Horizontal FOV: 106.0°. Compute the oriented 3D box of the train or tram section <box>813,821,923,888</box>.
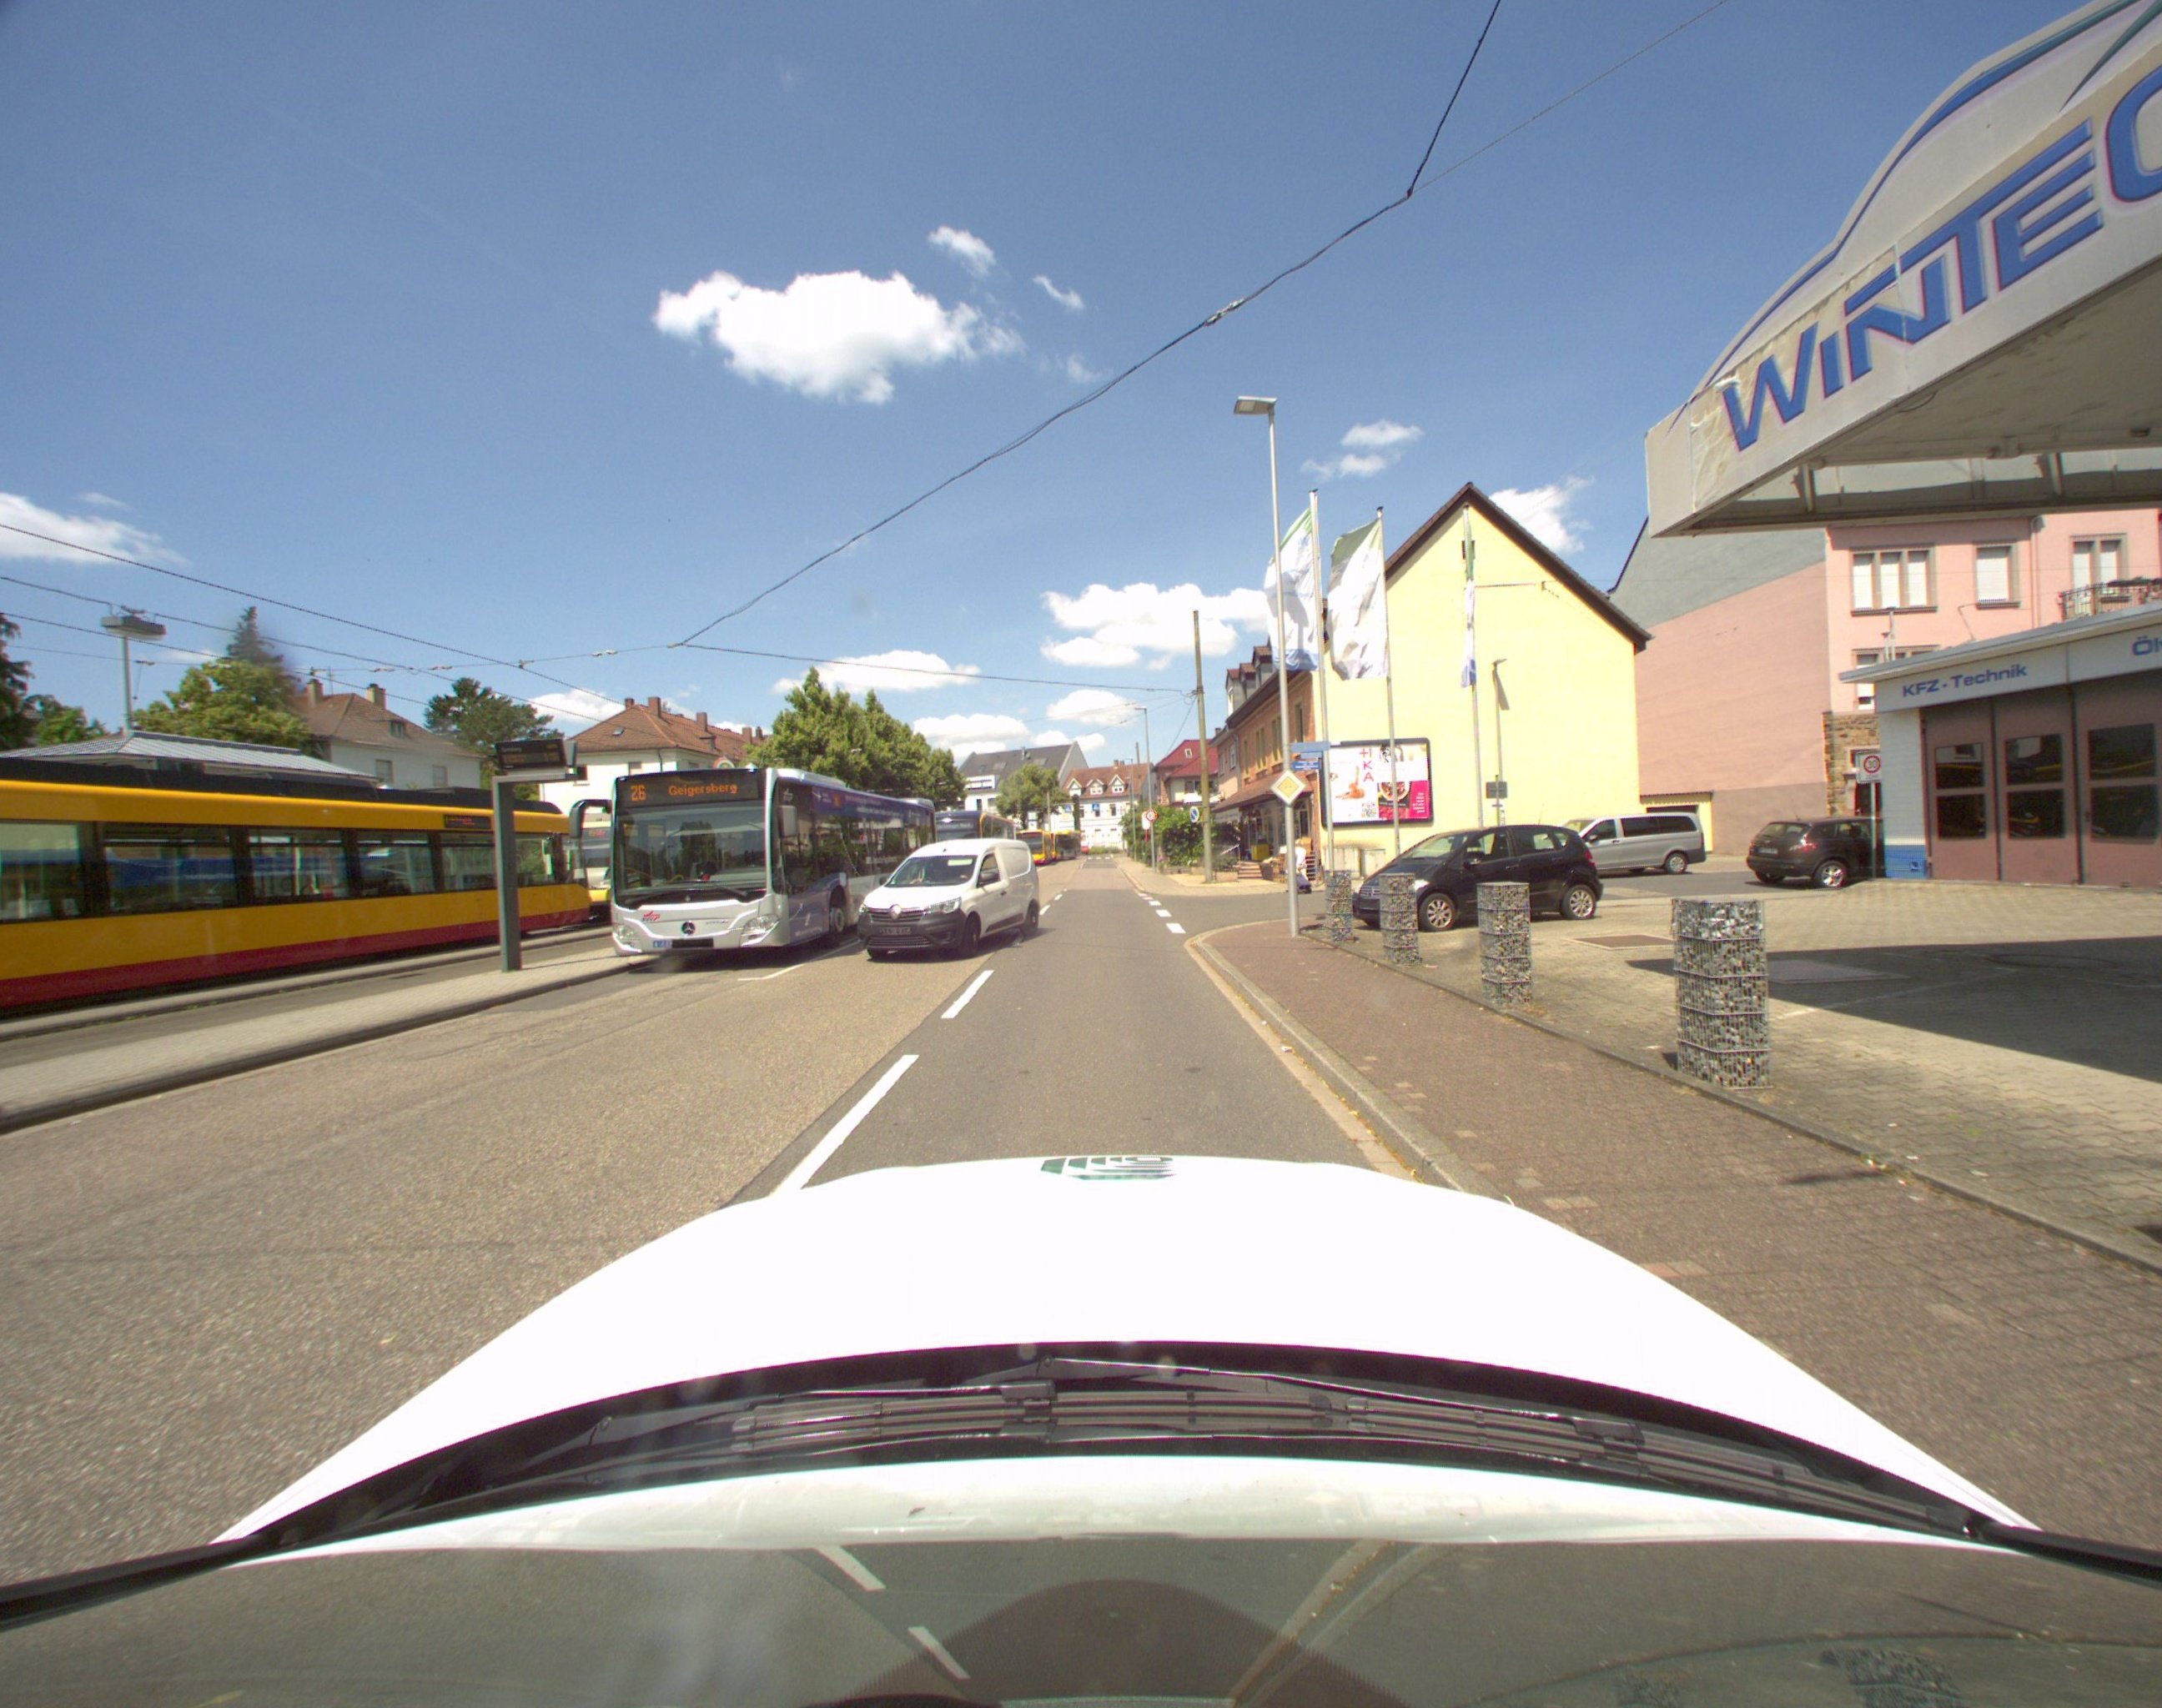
[{"bbox_3d":[-13.107,0.019,51.854,2.952,3.642,13.997,-1,0,1],"label":"train or tram section"}]

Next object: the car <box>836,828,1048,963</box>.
[{"bbox_3d":[-2.063,0.601,13.658,1.691,1.851,4.731,-1,-1,14],"label":"car"}]

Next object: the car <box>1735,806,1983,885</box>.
[{"bbox_3d":[17.866,-0.187,18.866,3.860,1.543,1.844,-3,-1,3],"label":"car"}]

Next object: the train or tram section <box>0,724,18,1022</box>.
[{"bbox_3d":[-14.206,0.304,7.445,2.953,3.495,4.418,-3,0,1],"label":"train or tram section"}]

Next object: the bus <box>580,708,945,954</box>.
[{"bbox_3d":[-5.489,-0.248,17.455,2.898,3.427,12.040,-1,-1,1],"label":"bus"}]

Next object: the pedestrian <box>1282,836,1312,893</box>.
[{"bbox_3d":[6.444,0.300,24.307,0.699,1.641,0.663,-3,2,21],"label":"pedestrian"}]

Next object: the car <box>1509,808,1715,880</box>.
[{"bbox_3d":[16.053,-0.303,24.771,5.041,1.861,1.907,-3,-1,-3],"label":"car"}]

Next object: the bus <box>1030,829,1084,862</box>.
[{"bbox_3d":[-2.370,-1.026,86.768,2.760,3.208,12.351,-1,1,13],"label":"bus"}]

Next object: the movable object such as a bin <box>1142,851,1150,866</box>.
[{"bbox_3d":[4.299,0.301,53.967,0.405,0.907,0.729,-6,-1,-2],"label":"movable object such as a bin"}]

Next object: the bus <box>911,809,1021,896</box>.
[{"bbox_3d":[-4.827,0.021,37.039,2.887,3.247,12.200,-1,-1,2],"label":"bus"}]

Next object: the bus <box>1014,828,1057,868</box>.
[{"bbox_3d":[-3.936,-0.505,73.170,2.897,3.248,12.120,-1,0,1],"label":"bus"}]

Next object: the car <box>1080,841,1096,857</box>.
[{"bbox_3d":[0.952,-0.662,107.470,1.986,2.014,4.001,-1,-1,2],"label":"car"}]

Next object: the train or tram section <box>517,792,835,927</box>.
[{"bbox_3d":[-13.639,0.120,30.827,2.952,3.642,17.356,-1,0,1],"label":"train or tram section"}]

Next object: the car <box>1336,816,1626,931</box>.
[{"bbox_3d":[6.395,0.281,13.208,3.879,1.543,1.835,-3,-1,-12],"label":"car"}]

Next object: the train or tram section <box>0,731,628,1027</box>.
[{"bbox_3d":[-14.014,0.294,15.928,2.952,3.495,12.660,-1,0,1],"label":"train or tram section"}]
